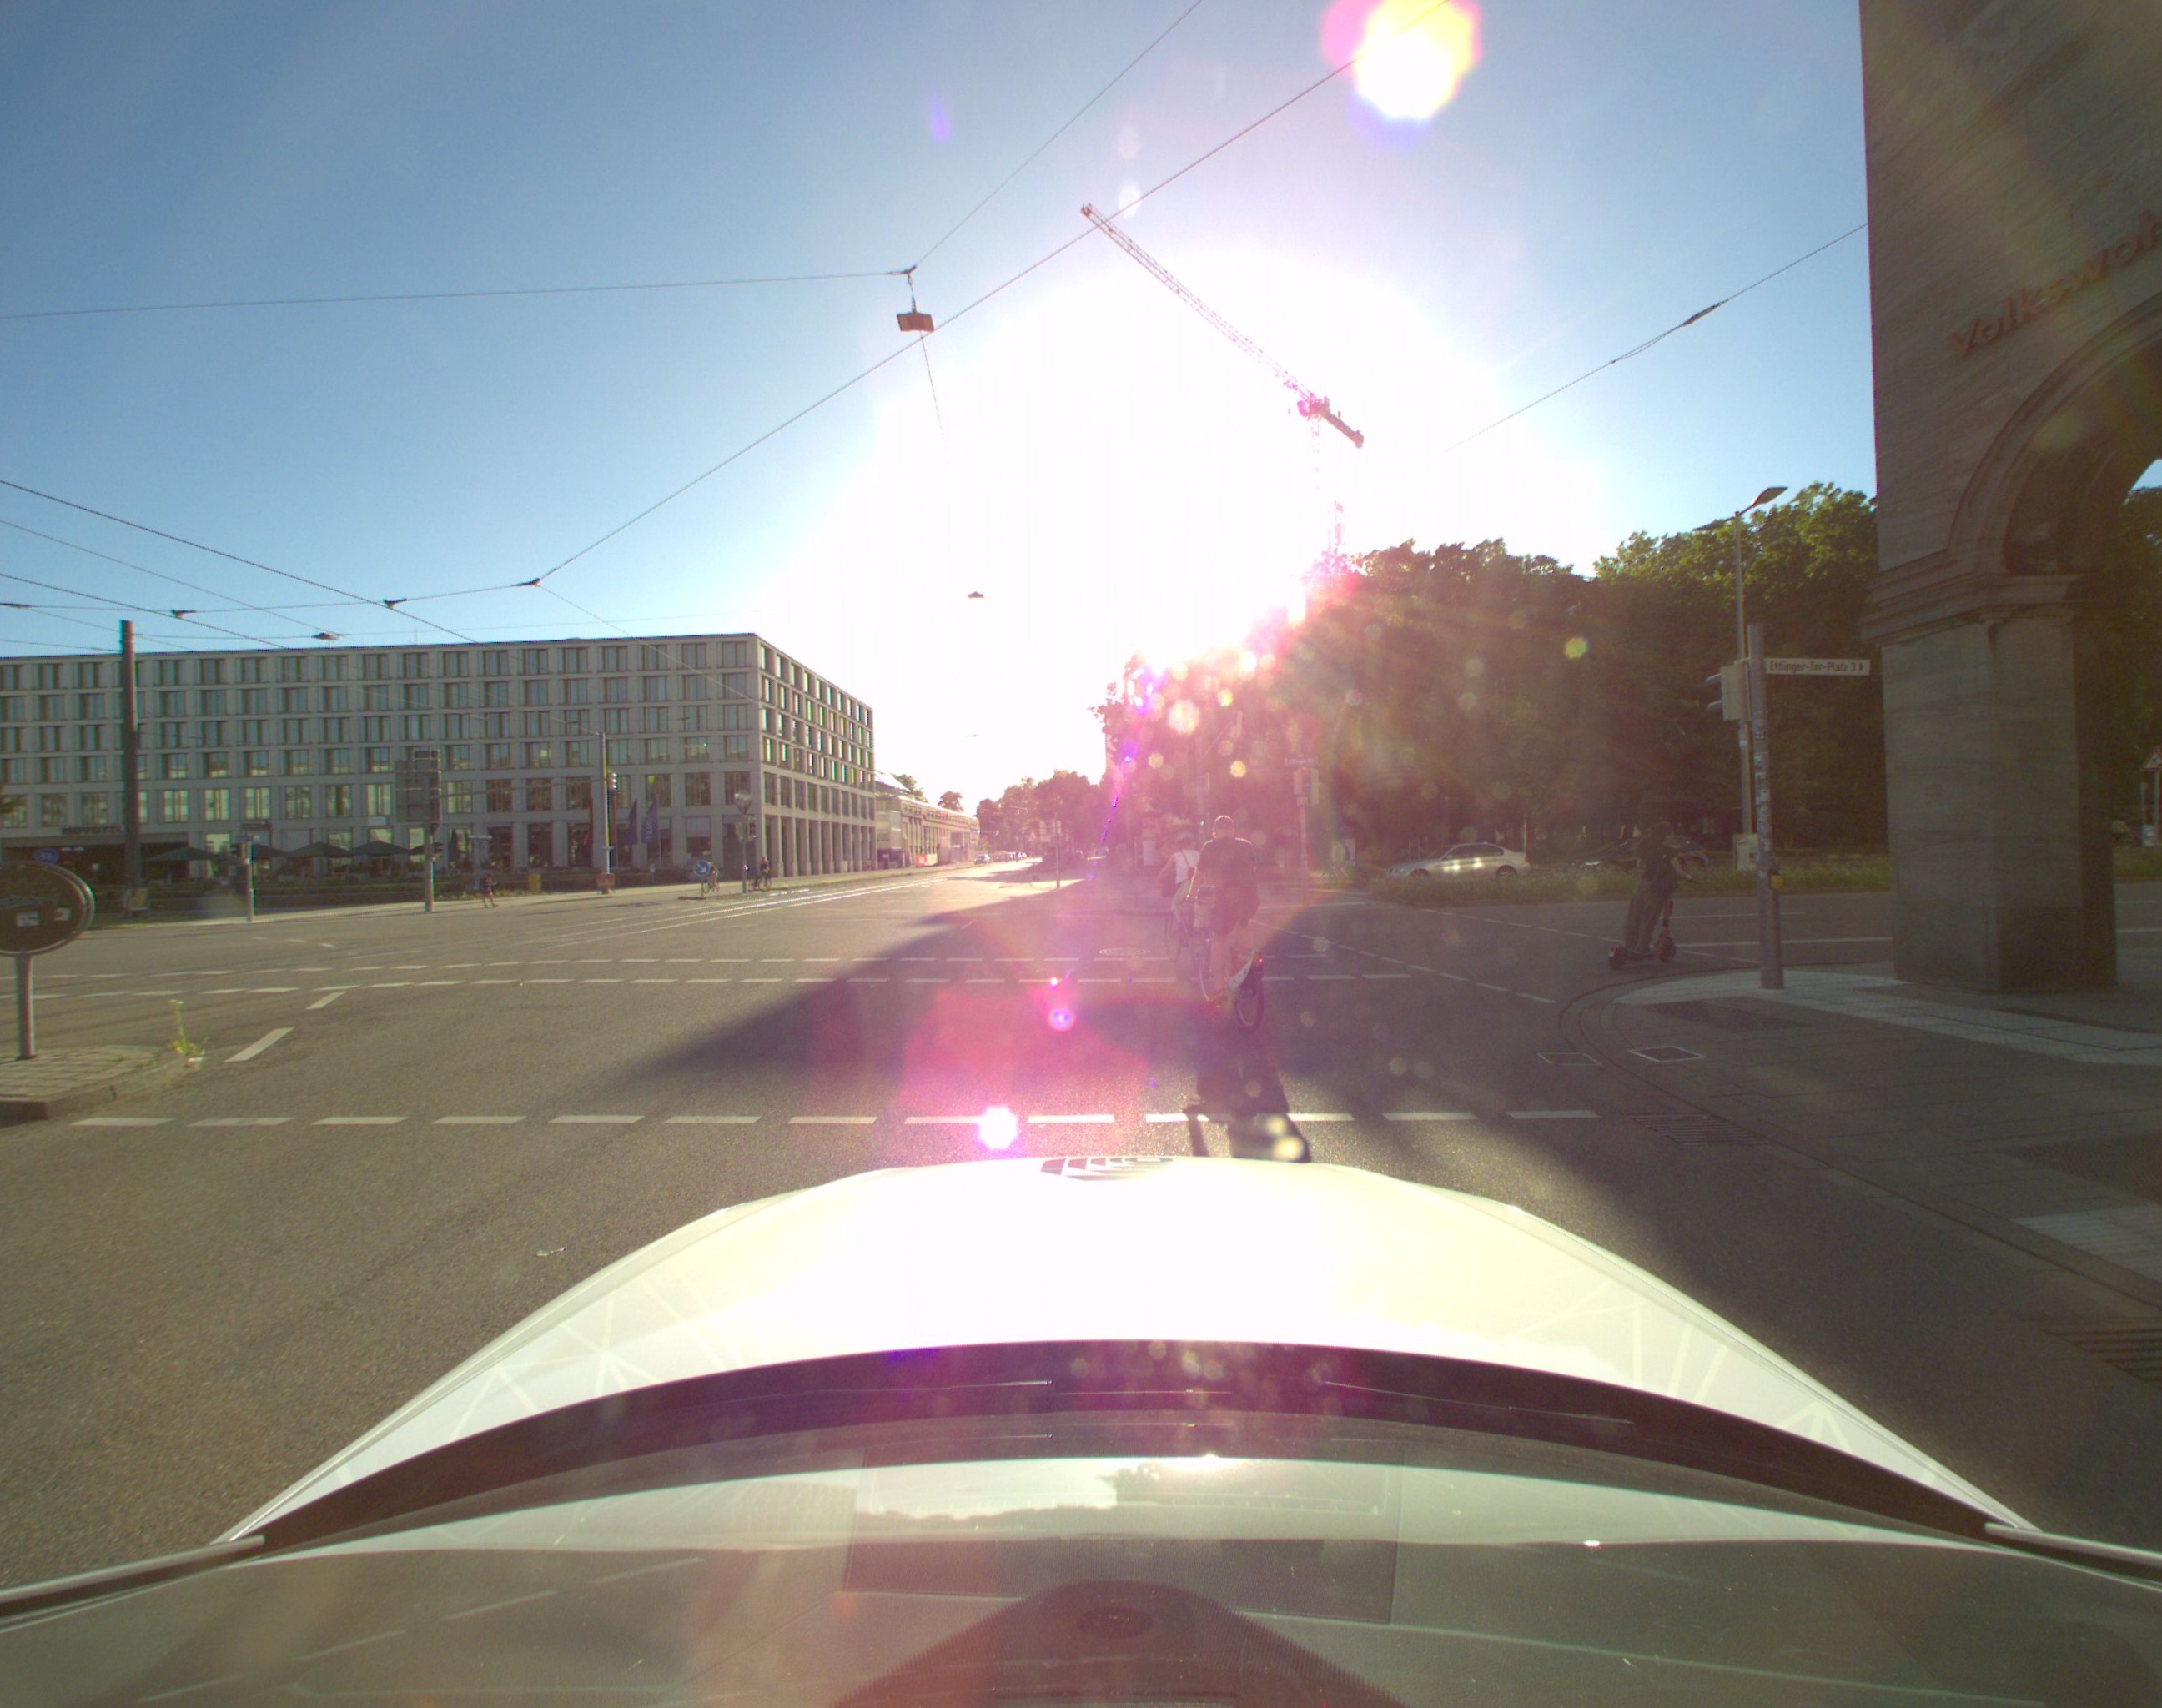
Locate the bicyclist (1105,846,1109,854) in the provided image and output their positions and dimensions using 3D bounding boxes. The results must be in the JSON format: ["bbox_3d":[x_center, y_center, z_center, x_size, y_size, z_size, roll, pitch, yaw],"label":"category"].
[{"bbox_3d":[6.226,-0.910,193.612,0.891,2.014,0.746,-1,-1,-10],"label":"bicyclist"}]

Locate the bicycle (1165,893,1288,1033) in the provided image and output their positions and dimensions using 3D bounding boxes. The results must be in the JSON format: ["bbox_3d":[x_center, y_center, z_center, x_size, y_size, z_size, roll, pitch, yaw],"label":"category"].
[{"bbox_3d":[1.292,0.936,7.575,0.622,1.044,1.743,-2,0,-7],"label":"bicycle"}]

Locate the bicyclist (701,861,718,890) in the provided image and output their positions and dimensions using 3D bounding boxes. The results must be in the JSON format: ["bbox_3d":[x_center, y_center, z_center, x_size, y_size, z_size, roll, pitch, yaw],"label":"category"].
[{"bbox_3d":[-19.651,1.144,43.086,0.492,1.498,0.667,-2,0,4],"label":"bicyclist"}]

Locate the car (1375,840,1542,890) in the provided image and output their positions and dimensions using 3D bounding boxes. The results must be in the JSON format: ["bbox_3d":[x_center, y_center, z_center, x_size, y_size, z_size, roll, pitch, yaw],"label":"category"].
[{"bbox_3d":[12.264,0.344,26.677,4.559,1.516,2.001,-1,-1,1],"label":"car"}]

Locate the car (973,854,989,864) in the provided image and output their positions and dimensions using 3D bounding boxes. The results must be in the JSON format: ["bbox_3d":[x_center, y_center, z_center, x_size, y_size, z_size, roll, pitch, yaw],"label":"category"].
[{"bbox_3d":[-15.856,0.765,129.657,1.988,1.599,3.999,-2,0,-1],"label":"car"}]

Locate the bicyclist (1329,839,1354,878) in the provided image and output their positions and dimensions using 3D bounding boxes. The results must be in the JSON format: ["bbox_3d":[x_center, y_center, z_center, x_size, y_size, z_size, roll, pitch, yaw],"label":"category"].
[{"bbox_3d":[9.452,0.171,29.562,0.742,1.406,0.704,-1,-1,8],"label":"bicyclist"}]

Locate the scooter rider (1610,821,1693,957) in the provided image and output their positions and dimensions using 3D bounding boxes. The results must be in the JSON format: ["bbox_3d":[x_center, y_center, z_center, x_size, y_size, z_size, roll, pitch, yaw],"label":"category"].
[{"bbox_3d":[6.818,0.407,9.750,0.576,1.562,0.543,-1,-1,-17],"label":"scooter rider"}]

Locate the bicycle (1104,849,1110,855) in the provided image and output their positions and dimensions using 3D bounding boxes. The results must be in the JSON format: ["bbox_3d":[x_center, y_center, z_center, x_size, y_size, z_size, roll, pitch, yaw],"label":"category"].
[{"bbox_3d":[6.216,-0.500,193.634,0.890,1.219,2.784,-1,-1,-9],"label":"bicycle"}]

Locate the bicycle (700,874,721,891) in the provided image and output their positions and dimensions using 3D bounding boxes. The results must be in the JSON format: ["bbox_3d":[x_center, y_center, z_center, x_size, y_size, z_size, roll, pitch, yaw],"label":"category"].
[{"bbox_3d":[-19.618,1.518,43.109,0.492,0.839,1.158,-2,0,4],"label":"bicycle"}]

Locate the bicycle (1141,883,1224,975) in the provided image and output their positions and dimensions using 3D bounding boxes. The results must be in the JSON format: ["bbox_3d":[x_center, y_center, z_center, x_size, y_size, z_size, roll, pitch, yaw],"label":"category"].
[{"bbox_3d":[1.312,0.948,10.863,0.582,1.044,1.741,-2,0,-10],"label":"bicycle"}]

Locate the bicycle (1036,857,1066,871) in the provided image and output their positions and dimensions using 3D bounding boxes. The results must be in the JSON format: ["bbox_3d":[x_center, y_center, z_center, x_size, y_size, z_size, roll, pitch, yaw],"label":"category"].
[{"bbox_3d":[-2.230,0.746,60.709,2.240,0.940,0.653,-2,0,-3],"label":"bicycle"}]

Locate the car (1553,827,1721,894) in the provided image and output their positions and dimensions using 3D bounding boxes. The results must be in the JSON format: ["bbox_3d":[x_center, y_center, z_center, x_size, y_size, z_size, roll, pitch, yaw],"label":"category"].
[{"bbox_3d":[17.710,0.219,26.111,3.970,2.014,2.002,-1,-1,3],"label":"car"}]

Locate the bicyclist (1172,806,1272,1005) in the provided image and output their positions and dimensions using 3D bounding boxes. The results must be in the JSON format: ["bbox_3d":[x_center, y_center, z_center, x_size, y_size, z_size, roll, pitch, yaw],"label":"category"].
[{"bbox_3d":[1.289,0.450,7.575,0.622,1.715,0.910,-2,0,-7],"label":"bicyclist"}]

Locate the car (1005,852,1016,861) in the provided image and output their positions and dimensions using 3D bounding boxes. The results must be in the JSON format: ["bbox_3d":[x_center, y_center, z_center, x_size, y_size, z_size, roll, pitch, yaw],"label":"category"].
[{"bbox_3d":[-14.509,0.494,167.434,1.987,1.661,3.999,-2,0,-1],"label":"car"}]

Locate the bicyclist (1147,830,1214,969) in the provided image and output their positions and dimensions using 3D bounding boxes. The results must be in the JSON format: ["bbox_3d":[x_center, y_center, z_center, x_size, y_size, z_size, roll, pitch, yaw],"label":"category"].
[{"bbox_3d":[1.308,0.578,10.845,0.584,1.738,0.946,-2,0,-11],"label":"bicyclist"}]

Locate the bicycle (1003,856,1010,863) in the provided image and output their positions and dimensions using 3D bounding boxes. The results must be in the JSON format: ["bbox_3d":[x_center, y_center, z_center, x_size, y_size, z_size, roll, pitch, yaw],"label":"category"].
[{"bbox_3d":[-11.550,0.852,126.169,0.748,1.205,3.108,-1,-1,1],"label":"bicycle"}]

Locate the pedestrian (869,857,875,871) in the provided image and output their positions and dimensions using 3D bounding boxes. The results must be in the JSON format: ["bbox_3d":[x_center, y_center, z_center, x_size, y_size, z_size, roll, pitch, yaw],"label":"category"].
[{"bbox_3d":[-27.604,1.293,107.444,0.582,1.889,0.481,-1,-1,33],"label":"pedestrian"}]

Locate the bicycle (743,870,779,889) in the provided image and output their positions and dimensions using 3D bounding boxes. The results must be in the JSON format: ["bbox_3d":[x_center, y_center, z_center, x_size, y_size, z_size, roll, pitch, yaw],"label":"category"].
[{"bbox_3d":[-14.871,1.198,37.822,1.696,0.823,0.577,-2,0,29],"label":"bicycle"}]

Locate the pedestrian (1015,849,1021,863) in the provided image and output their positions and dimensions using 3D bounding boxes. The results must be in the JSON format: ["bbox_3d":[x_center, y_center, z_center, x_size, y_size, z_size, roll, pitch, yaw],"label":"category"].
[{"bbox_3d":[-9.347,0.365,120.731,0.746,2.063,1.052,-1,-1,7],"label":"pedestrian"}]

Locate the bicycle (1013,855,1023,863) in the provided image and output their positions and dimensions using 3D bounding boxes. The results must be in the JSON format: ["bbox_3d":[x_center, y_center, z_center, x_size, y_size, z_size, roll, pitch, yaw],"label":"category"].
[{"bbox_3d":[-9.344,0.781,120.661,0.746,1.205,3.114,-1,-1,7],"label":"bicycle"}]

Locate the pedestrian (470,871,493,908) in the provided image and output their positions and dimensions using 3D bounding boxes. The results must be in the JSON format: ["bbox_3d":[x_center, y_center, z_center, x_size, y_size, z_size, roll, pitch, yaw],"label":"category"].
[{"bbox_3d":[-28.431,1.675,38.617,0.598,1.681,0.610,-2,0,24],"label":"pedestrian"}]

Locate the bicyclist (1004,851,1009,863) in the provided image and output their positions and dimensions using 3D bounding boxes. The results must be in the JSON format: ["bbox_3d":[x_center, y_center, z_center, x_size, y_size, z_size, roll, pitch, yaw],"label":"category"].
[{"bbox_3d":[-11.562,0.495,126.265,0.748,1.920,1.215,-1,-1,1],"label":"bicyclist"}]

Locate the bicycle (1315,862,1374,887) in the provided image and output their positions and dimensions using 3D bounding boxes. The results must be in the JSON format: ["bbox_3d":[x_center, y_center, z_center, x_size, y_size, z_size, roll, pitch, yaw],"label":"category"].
[{"bbox_3d":[9.547,0.734,29.549,1.932,0.889,0.719,-1,-1,8],"label":"bicycle"}]

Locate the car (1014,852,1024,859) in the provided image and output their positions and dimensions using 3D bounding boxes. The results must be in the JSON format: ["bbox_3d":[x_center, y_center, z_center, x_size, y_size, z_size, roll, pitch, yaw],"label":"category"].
[{"bbox_3d":[-14.402,0.375,188.626,1.988,1.644,3.998,-2,0,-1],"label":"car"}]

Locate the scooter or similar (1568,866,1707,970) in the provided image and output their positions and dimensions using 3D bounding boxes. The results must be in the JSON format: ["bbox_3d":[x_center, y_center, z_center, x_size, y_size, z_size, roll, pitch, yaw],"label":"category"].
[{"bbox_3d":[6.722,0.755,9.876,1.263,1.149,0.575,-3,1,2],"label":"scooter or similar"}]

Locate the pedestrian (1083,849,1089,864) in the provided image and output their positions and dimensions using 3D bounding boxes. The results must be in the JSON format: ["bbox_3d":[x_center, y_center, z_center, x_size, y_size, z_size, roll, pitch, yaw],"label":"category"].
[{"bbox_3d":[0.549,0.247,91.108,0.576,1.689,0.584,-2,0,-6],"label":"pedestrian"}]

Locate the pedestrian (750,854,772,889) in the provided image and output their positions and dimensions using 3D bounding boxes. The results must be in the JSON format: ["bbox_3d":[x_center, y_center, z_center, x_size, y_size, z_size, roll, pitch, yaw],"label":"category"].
[{"bbox_3d":[-14.869,0.808,37.817,0.735,1.595,0.577,-2,0,29],"label":"pedestrian"}]

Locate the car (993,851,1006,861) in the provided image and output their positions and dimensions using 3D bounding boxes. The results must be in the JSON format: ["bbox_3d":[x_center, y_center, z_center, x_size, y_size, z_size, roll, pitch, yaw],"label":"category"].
[{"bbox_3d":[-15.415,0.388,154.104,1.987,1.661,3.999,-2,0,-1],"label":"car"}]
